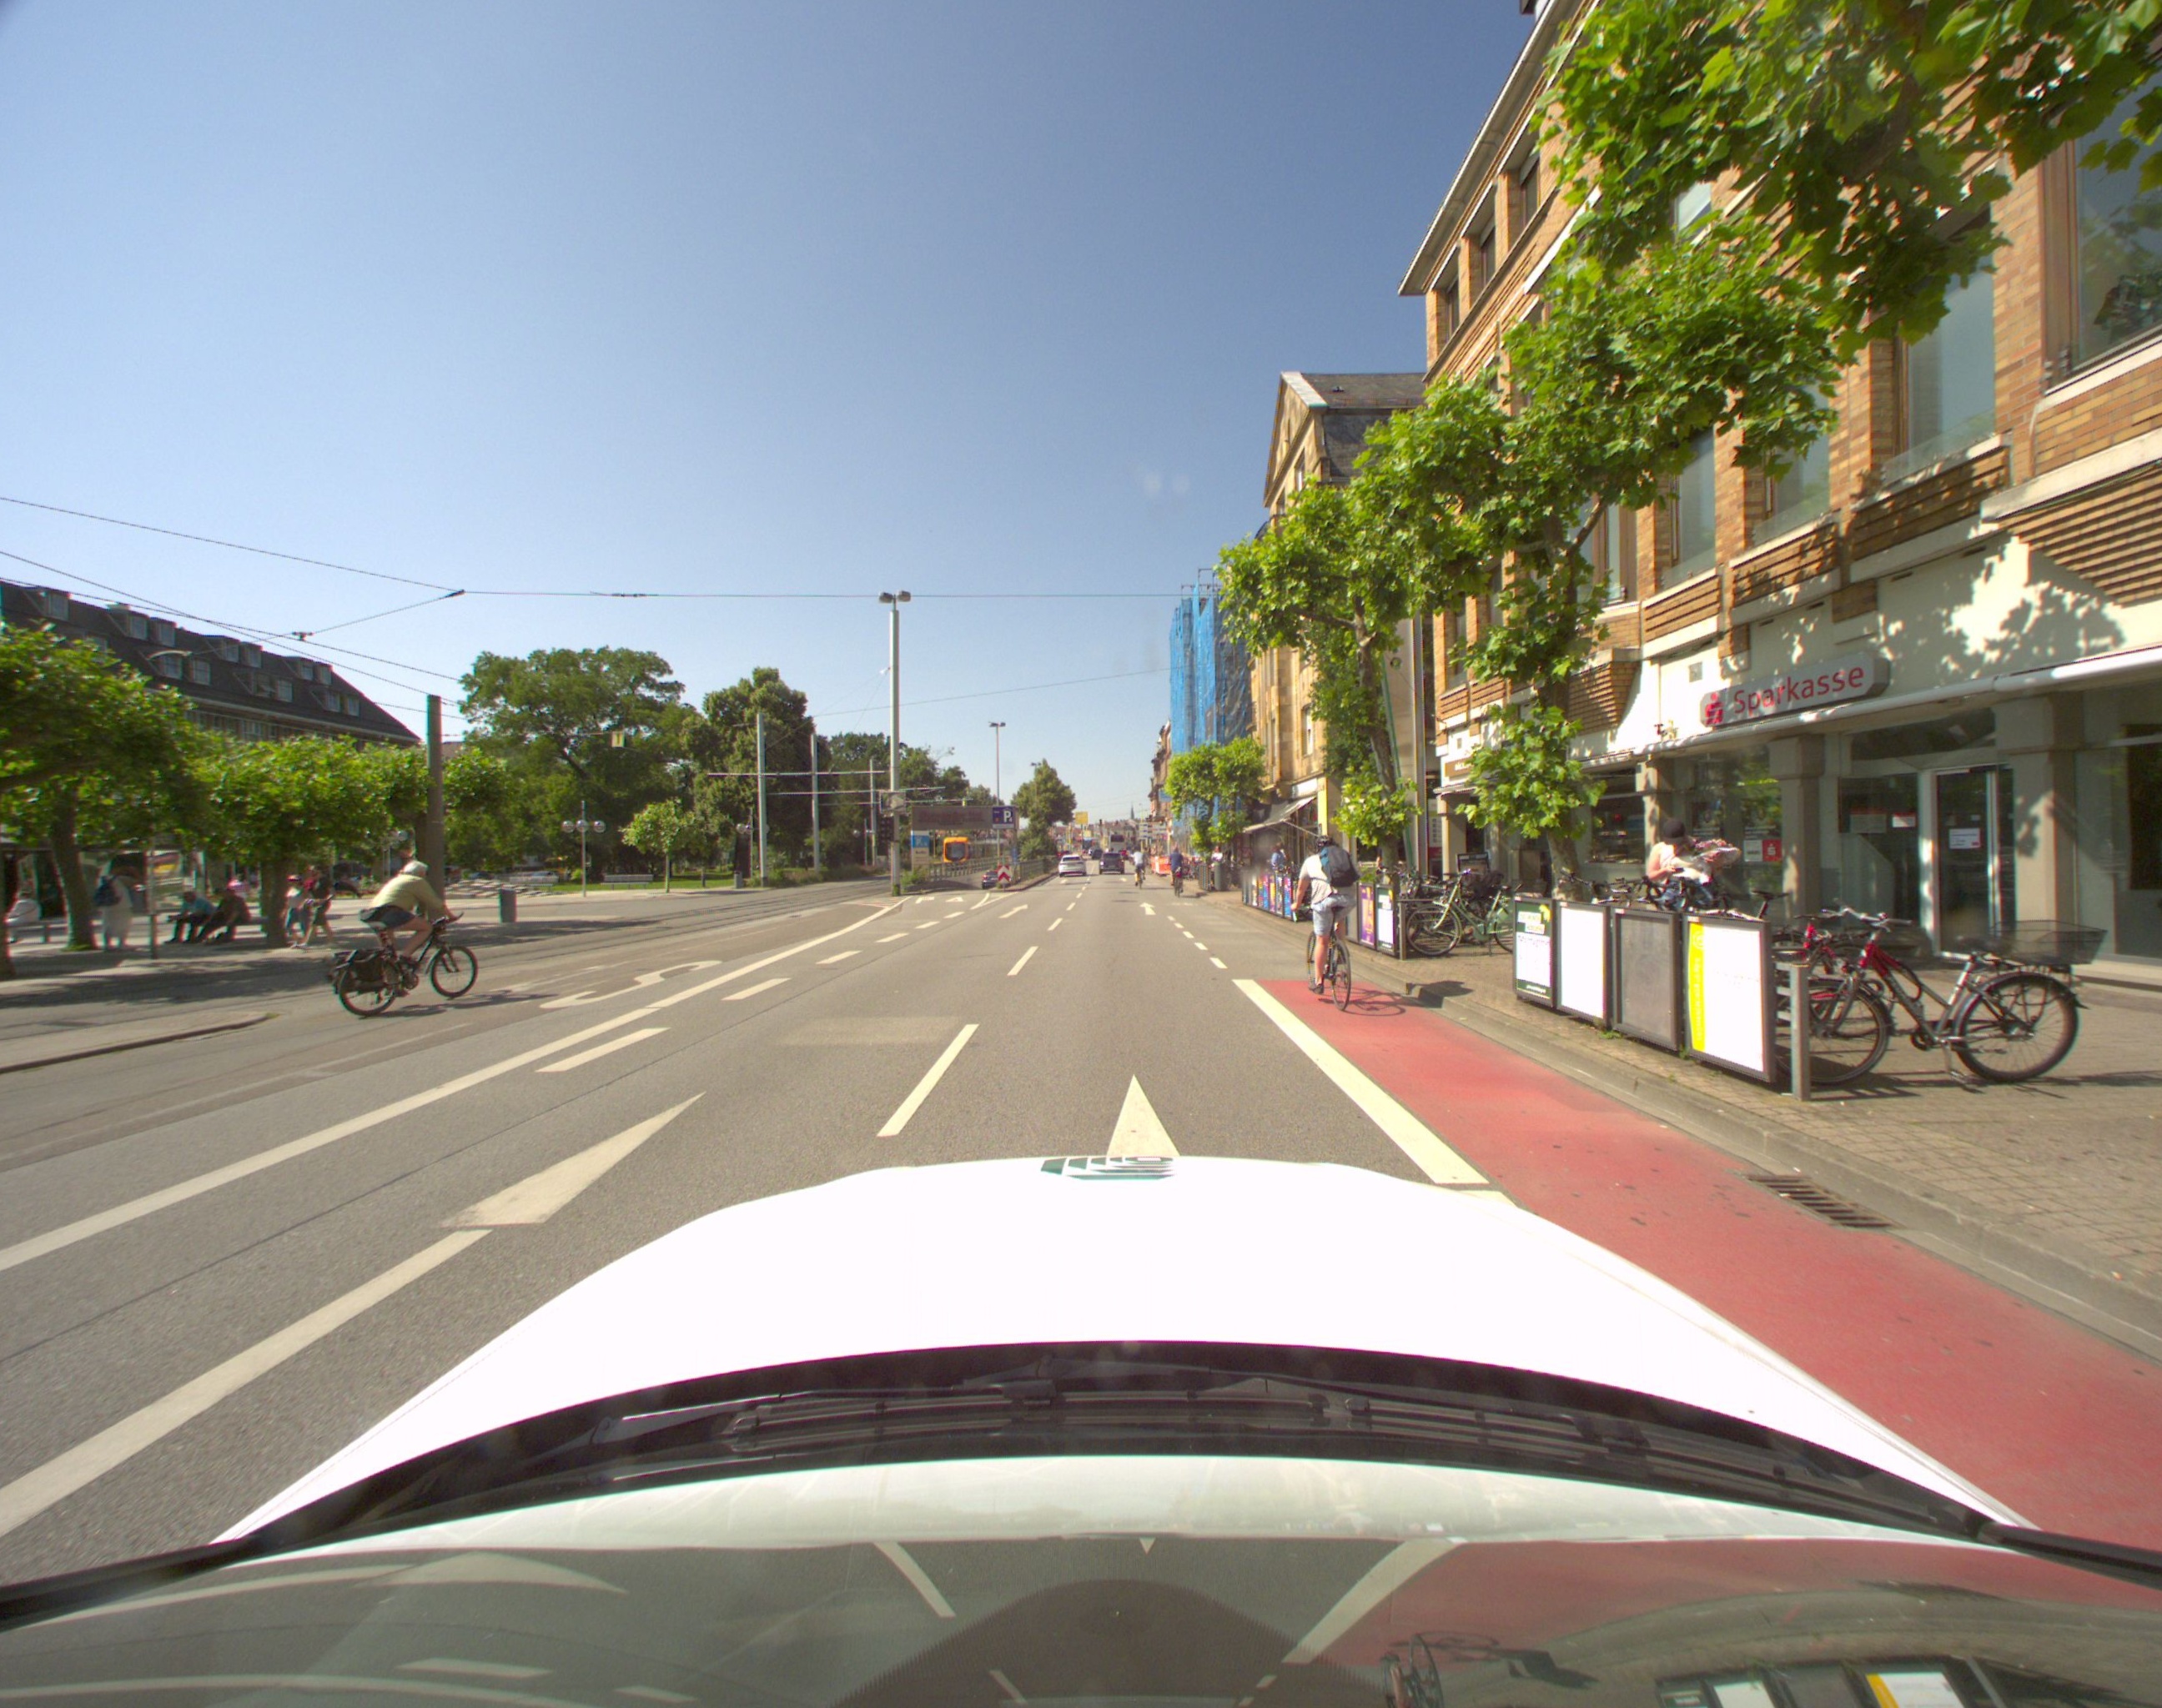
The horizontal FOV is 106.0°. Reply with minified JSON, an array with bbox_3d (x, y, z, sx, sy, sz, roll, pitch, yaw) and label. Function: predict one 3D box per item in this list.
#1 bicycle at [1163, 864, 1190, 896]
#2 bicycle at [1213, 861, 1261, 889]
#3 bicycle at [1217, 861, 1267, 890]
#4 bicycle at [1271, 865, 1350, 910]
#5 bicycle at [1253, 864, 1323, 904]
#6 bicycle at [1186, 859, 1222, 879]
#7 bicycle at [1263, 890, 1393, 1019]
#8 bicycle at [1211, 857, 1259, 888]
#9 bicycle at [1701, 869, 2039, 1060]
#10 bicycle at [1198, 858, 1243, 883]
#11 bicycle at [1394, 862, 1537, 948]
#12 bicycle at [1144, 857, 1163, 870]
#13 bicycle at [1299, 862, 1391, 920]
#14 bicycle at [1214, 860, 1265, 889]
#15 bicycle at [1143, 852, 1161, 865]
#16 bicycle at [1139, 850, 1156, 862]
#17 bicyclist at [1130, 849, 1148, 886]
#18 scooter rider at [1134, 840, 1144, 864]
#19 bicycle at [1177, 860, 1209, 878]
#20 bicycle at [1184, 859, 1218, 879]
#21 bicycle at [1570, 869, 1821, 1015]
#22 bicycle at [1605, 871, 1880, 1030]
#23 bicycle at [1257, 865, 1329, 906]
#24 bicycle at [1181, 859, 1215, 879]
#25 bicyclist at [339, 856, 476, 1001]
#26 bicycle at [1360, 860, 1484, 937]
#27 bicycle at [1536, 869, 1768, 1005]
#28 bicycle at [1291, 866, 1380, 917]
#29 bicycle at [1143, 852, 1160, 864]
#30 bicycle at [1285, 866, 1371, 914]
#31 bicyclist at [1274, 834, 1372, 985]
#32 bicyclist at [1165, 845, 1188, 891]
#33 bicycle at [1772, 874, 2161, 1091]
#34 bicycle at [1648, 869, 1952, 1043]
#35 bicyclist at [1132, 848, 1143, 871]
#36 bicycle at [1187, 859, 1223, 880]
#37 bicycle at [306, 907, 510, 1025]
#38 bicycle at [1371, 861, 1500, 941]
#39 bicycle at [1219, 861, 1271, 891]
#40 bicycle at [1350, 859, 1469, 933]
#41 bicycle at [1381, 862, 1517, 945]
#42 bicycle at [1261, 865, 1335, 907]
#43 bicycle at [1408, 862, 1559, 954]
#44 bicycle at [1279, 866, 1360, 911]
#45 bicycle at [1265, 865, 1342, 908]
[{"bbox_3d":[3.413,0.912,29.187,0.731,1.093,1.911,1,0,0],"label":"bicycle"},{"bbox_3d":[5.963,0.789,31.160,1.747,1.018,0.557,-1,0,-1],"label":"bicycle"},{"bbox_3d":[5.920,0.790,29.964,1.747,1.018,0.483,-1,0,-1],"label":"bicycle"},{"bbox_3d":[5.483,0.792,19.508,1.747,1.018,0.483,-1,0,-1],"label":"bicycle"},{"bbox_3d":[5.499,0.800,21.668,1.747,1.018,0.483,-1,0,-1],"label":"bicycle"},{"bbox_3d":[6.398,0.783,42.407,1.751,1.018,0.482,-1,0,-7],"label":"bicycle"},{"bbox_3d":[2.517,0.972,8.583,0.731,1.093,2.130,1,0,0],"label":"bicycle"},{"bbox_3d":[5.992,0.727,31.762,1.747,1.181,0.579,-1,0,-1],"label":"bicycle"},{"bbox_3d":[5.094,0.688,5.308,1.747,1.147,0.483,-1,0,-1],"label":"bicycle"},{"bbox_3d":[5.809,0.682,33.890,1.737,1.018,0.661,-1,0,24],"label":"bicycle"},{"bbox_3d":[5.317,0.694,11.304,1.747,1.147,0.483,-1,0,-1],"label":"bicycle"},{"bbox_3d":[6.650,0.900,74.629,1.764,1.178,0.609,0,0,2],"label":"bicycle"},{"bbox_3d":[5.438,0.759,16.824,1.747,1.147,0.483,-1,0,-1],"label":"bicycle"},{"bbox_3d":[5.940,0.778,30.543,1.747,1.018,0.587,-2,0,-1],"label":"bicycle"},{"bbox_3d":[6.906,0.439,78.859,1.687,1.241,0.609,0,0,2],"label":"bicycle"},{"bbox_3d":[6.916,0.176,84.222,1.687,1.178,0.609,-2,1,2],"label":"bicycle"},{"bbox_3d":[2.514,0.575,35.109,0.686,1.576,1.049,1,0,0],"label":"bicyclist"},{"bbox_3d":[4.254,-0.161,60.124,0.686,1.729,0.778,1,0,1],"label":"scooter rider"},{"bbox_3d":[6.227,0.830,45.343,1.747,1.018,0.483,-1,0,-1],"label":"bicycle"},{"bbox_3d":[6.369,0.817,43.326,1.747,1.018,0.483,-1,0,-1],"label":"bicycle"},{"bbox_3d":[5.122,0.715,6.835,1.747,1.147,0.483,-1,0,-1],"label":"bicycle"},{"bbox_3d":[5.109,0.723,6.335,1.747,1.147,0.483,-1,0,-1],"label":"bicycle"},{"bbox_3d":[5.490,0.818,21.151,1.747,1.018,0.483,-1,0,-1],"label":"bicycle"},{"bbox_3d":[6.321,0.815,43.933,1.747,1.018,0.483,-1,0,-1],"label":"bicycle"},{"bbox_3d":[-8.081,0.858,9.821,0.814,1.622,0.903,-2,1,1],"label":"bicyclist"},{"bbox_3d":[5.343,0.685,12.803,1.747,1.147,0.483,-1,0,-1],"label":"bicycle"},{"bbox_3d":[5.118,0.728,7.345,1.747,1.147,0.483,-1,0,-1],"label":"bicycle"},{"bbox_3d":[5.416,0.792,17.378,1.747,1.018,0.483,-1,0,-1],"label":"bicycle"},{"bbox_3d":[6.937,0.437,80.309,1.687,1.178,0.491,0,0,2],"label":"bicycle"},{"bbox_3d":[5.442,0.791,18.007,1.747,1.018,0.483,-1,0,-1],"label":"bicycle"},{"bbox_3d":[2.502,0.543,8.533,0.686,1.463,1.143,1,0,0],"label":"bicyclist"},{"bbox_3d":[3.419,0.496,29.217,0.686,1.616,0.918,1,0,0],"label":"bicyclist"},{"bbox_3d":[5.092,0.710,4.724,1.747,1.147,0.499,-1,0,-1],"label":"bicycle"},{"bbox_3d":[5.092,0.701,5.816,1.747,1.147,0.483,-1,0,-1],"label":"bicycle"},{"bbox_3d":[3.936,0.388,56.607,0.686,1.576,1.049,1,0,0],"label":"bicyclist"},{"bbox_3d":[6.328,0.801,41.474,1.747,1.018,0.483,-1,0,-1],"label":"bicycle"},{"bbox_3d":[-8.060,1.296,9.893,0.814,1.120,1.875,-4,0,2],"label":"bicycle"},{"bbox_3d":[5.340,0.700,12.308,1.747,1.147,0.483,-1,0,-1],"label":"bicycle"},{"bbox_3d":[5.911,0.790,29.394,1.747,1.018,0.483,-1,0,-1],"label":"bicycle"},{"bbox_3d":[5.344,0.671,13.302,1.747,1.147,0.483,-1,0,-1],"label":"bicycle"},{"bbox_3d":[5.324,0.711,11.814,1.747,1.147,0.483,-1,0,-1],"label":"bicycle"},{"bbox_3d":[5.482,0.791,20.605,1.747,1.018,0.483,-1,0,-1],"label":"bicycle"},{"bbox_3d":[5.305,0.701,10.772,1.747,1.147,0.483,-1,0,-1],"label":"bicycle"},{"bbox_3d":[5.484,0.789,18.784,1.712,0.985,0.483,-1,0,-1],"label":"bicycle"},{"bbox_3d":[5.475,0.792,20.080,1.747,1.018,0.483,-1,0,-1],"label":"bicycle"}]
